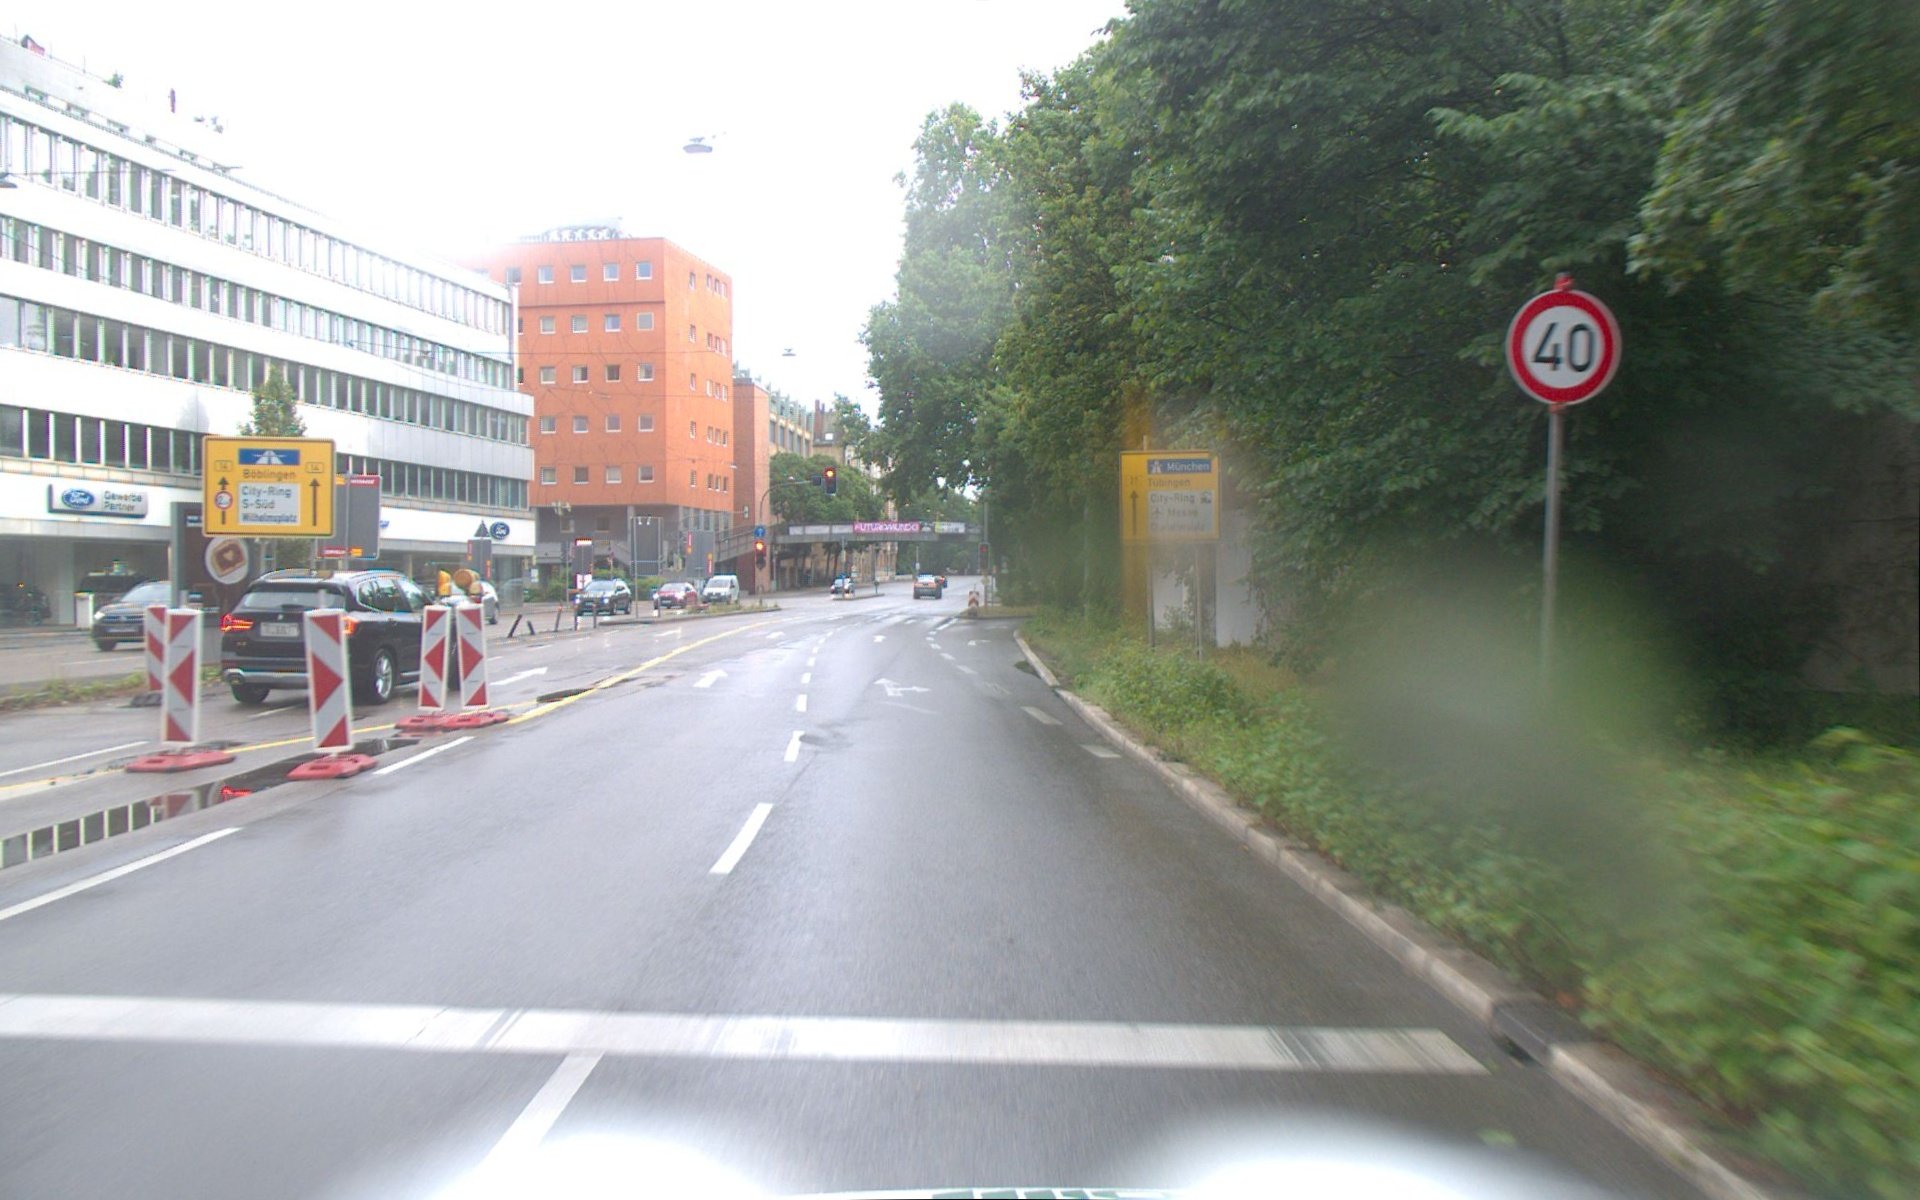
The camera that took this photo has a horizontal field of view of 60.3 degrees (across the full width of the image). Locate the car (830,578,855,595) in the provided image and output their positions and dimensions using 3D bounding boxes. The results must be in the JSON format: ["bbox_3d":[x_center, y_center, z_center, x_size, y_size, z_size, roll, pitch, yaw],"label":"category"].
[{"bbox_3d":[-11.092,-1.271,156.492,1.952,1.545,4.001,0,1,2],"label":"car"}]

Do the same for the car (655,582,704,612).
[{"bbox_3d":[-15.686,-0.182,92.694,1.791,1.528,4.375,-2,1,3],"label":"car"}]

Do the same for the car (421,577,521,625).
[{"bbox_3d":[-16.963,0.014,57.578,1.769,1.585,4.304,-1,1,7],"label":"car"}]

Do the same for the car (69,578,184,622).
[{"bbox_3d":[-32.628,-0.013,64.834,3.940,1.601,1.982,-2,1,-27],"label":"car"}]

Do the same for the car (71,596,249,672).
[{"bbox_3d":[-17.722,0.712,36.838,1.715,1.540,4.003,-1,0,5],"label":"car"}]

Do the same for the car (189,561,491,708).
[{"bbox_3d":[-7.960,0.348,21.775,1.906,1.625,4.673,2,2,4],"label":"car"}]

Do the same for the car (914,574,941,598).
[{"bbox_3d":[-2.523,-1.106,128.760,2.077,1.765,4.198,2,2,-1],"label":"car"}]

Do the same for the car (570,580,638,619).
[{"bbox_3d":[-16.722,-0.056,77.821,1.806,1.768,4.607,-1,1,5],"label":"car"}]

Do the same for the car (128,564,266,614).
[{"bbox_3d":[-32.246,-0.472,69.967,4.946,1.930,1.970,-2,1,-42],"label":"car"}]

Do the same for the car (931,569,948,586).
[{"bbox_3d":[-2.261,-2.480,183.040,1.727,1.726,3.706,-2,1,1],"label":"car"}]

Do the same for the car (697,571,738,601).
[{"bbox_3d":[-15.276,-0.883,104.471,1.697,1.817,4.303,-2,1,3],"label":"car"}]
